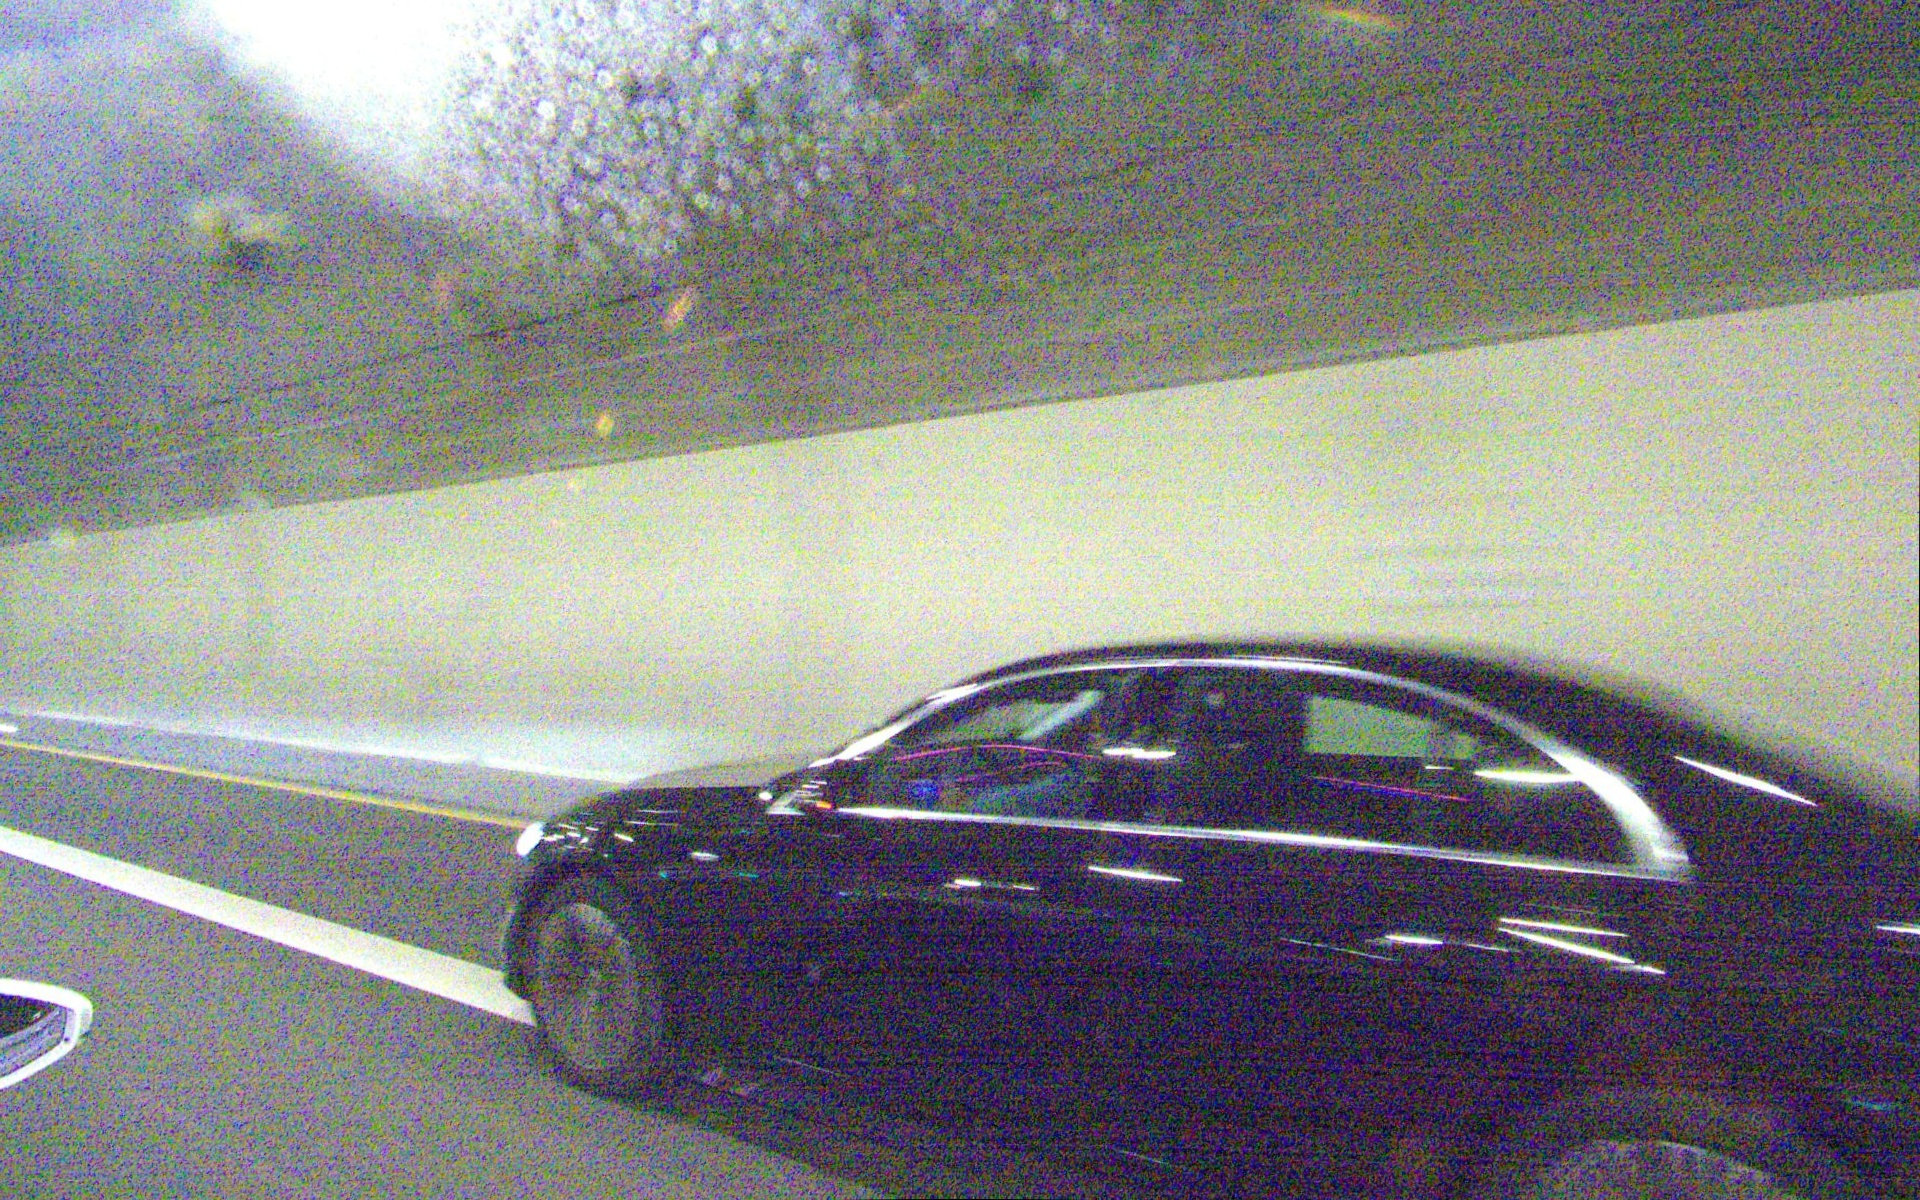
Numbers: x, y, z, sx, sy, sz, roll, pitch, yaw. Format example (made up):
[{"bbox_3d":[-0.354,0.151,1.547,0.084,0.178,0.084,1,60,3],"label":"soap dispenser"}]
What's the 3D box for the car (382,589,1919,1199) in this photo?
[{"bbox_3d":[0.369,0.803,3.319,4.884,1.491,1.923,-1,-3,33],"label":"car"}]
